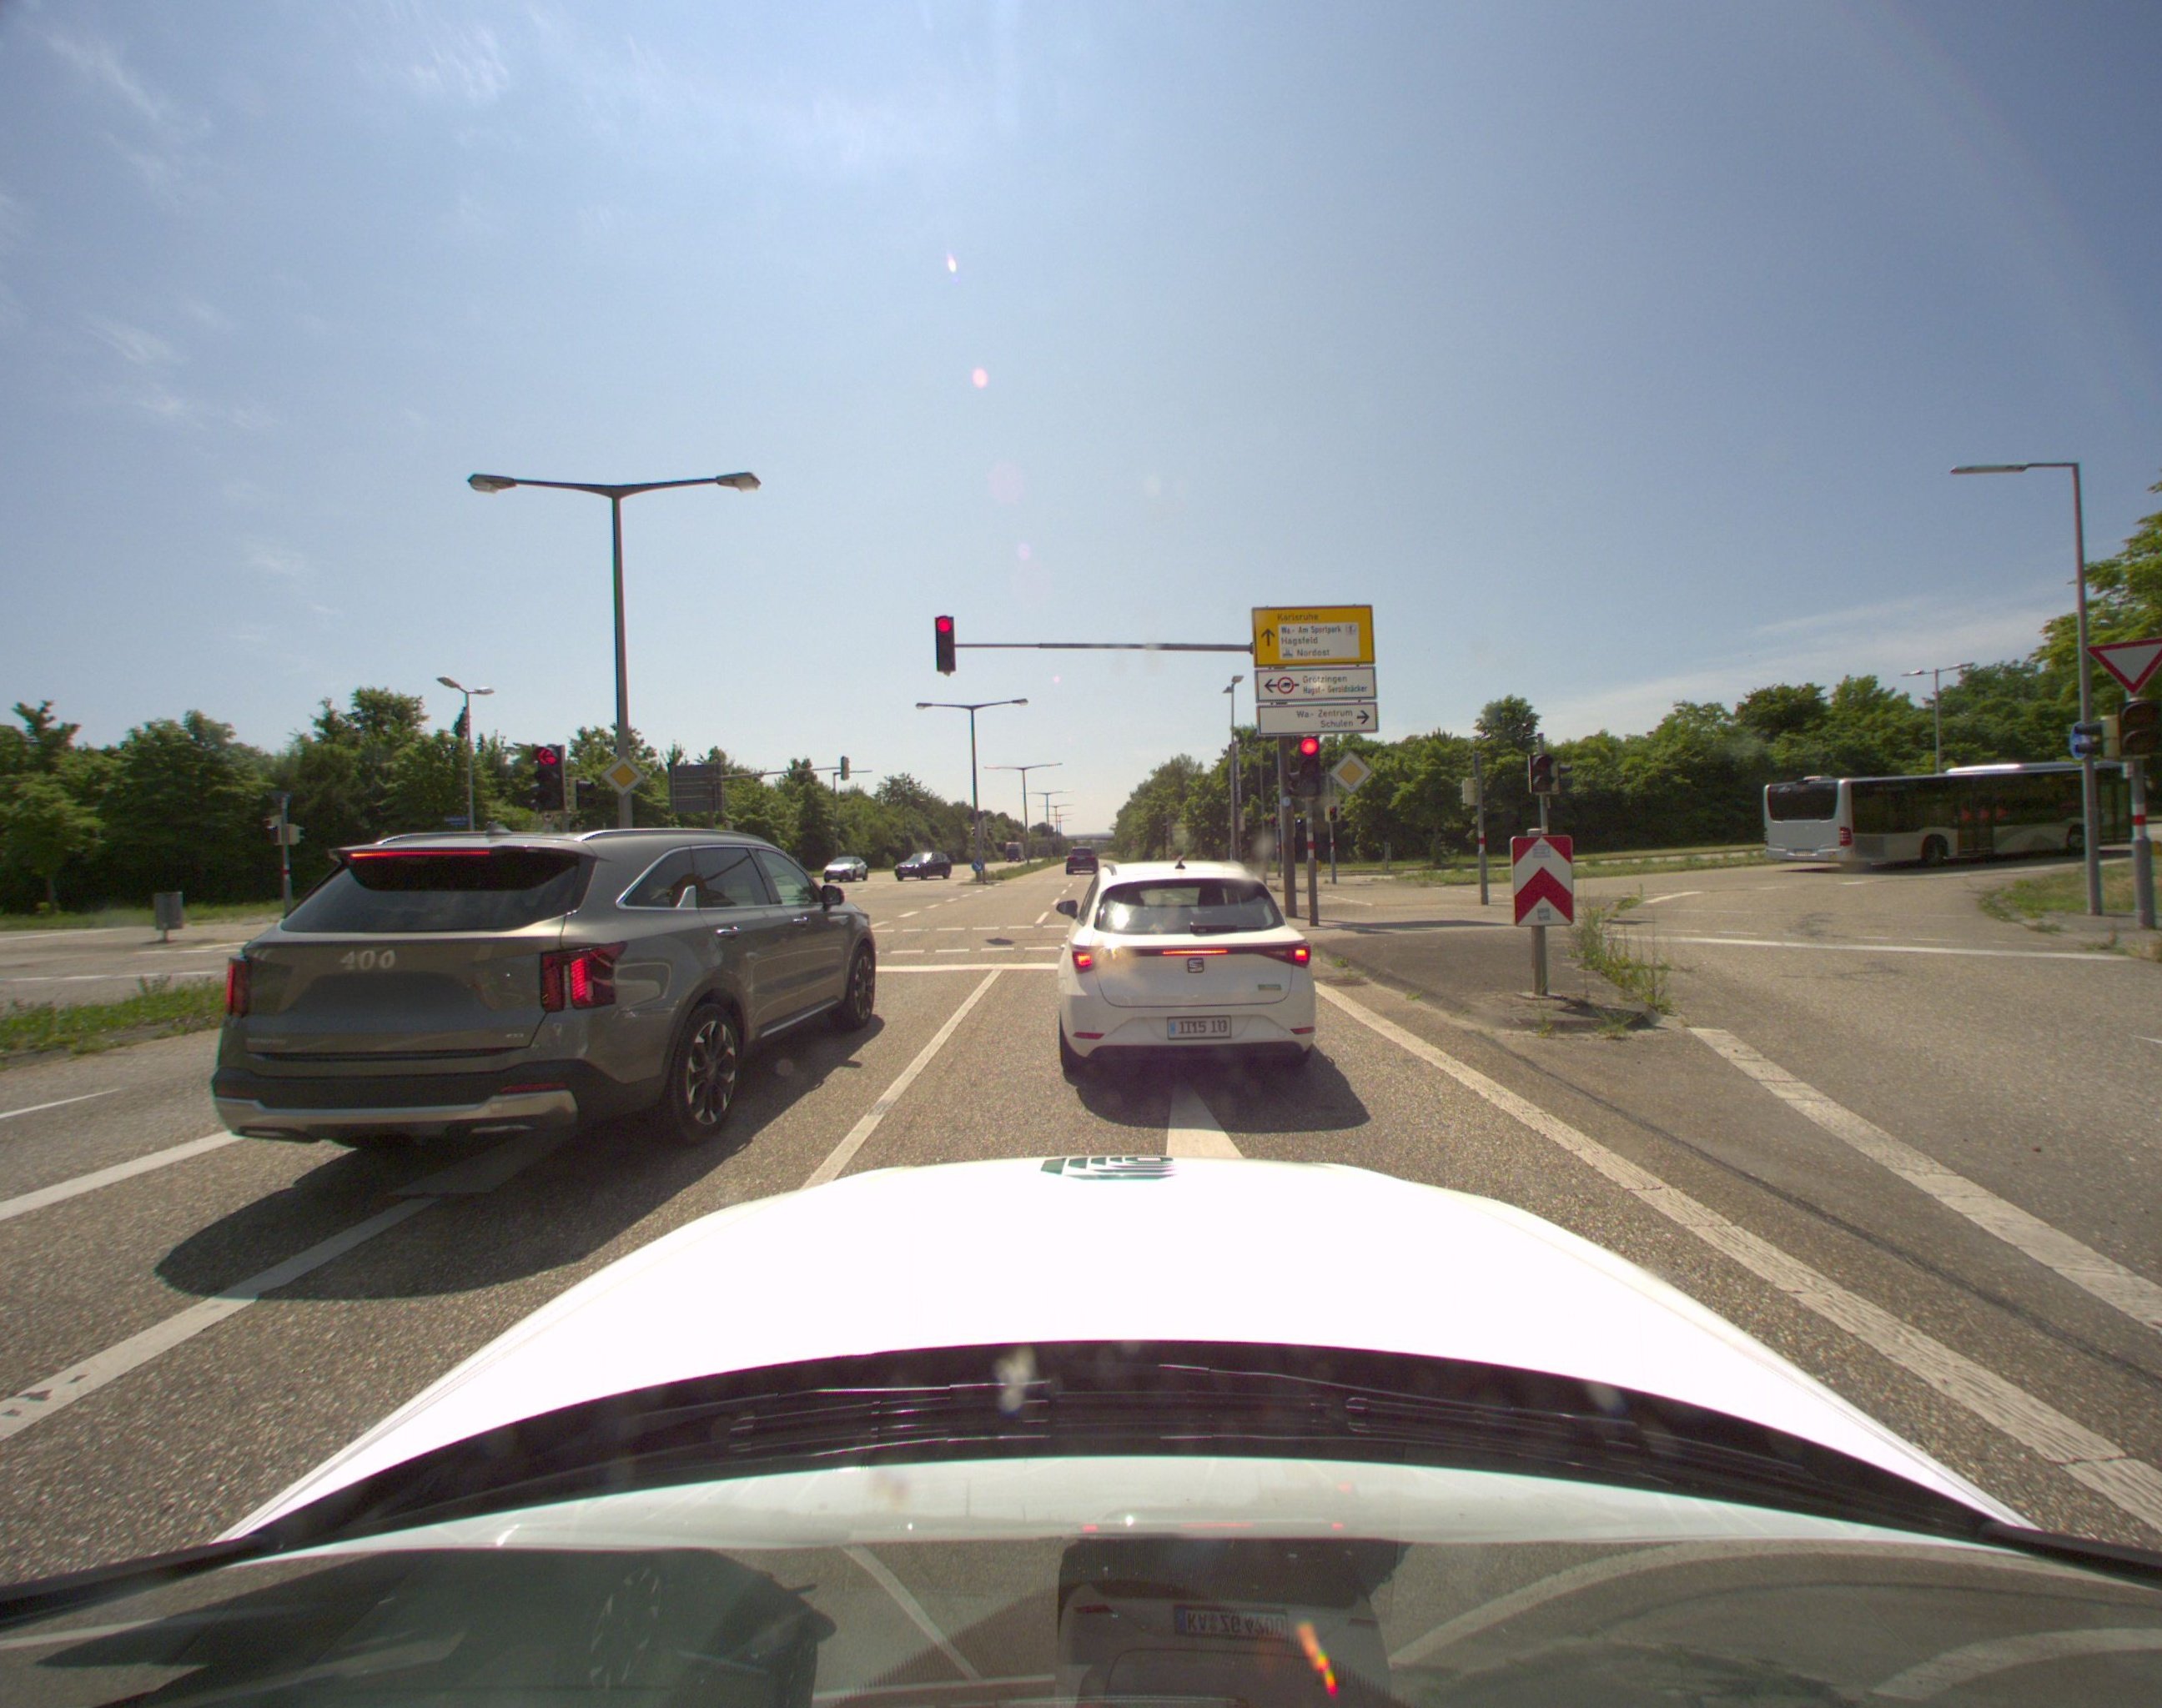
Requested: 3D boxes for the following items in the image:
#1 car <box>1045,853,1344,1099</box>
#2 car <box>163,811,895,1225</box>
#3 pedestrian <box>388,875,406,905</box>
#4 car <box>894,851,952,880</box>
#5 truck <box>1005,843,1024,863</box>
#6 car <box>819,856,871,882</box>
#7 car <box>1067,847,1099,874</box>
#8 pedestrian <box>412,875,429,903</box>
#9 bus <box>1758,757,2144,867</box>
[{"bbox_3d":[0.720,0.728,6.604,1.728,1.428,3.696,0,-1,2],"label":"car"},{"bbox_3d":[-2.832,0.683,5.704,1.797,1.662,4.646,-2,0,2],"label":"car"},{"bbox_3d":[-37.507,1.944,44.668,0.620,1.603,0.790,-2,0,-34],"label":"pedestrian"},{"bbox_3d":[-9.747,0.682,50.672,1.693,1.663,4.242,-2,0,17],"label":"car"},{"bbox_3d":[-12.097,-0.220,148.805,2.677,3.570,7.269,-2,0,1],"label":"truck"},{"bbox_3d":[-14.692,0.929,50.924,1.815,1.455,4.171,-2,0,2],"label":"car"},{"bbox_3d":[0.200,0.398,55.010,1.847,1.709,4.004,-2,0,4],"label":"car"},{"bbox_3d":[-36.631,1.943,45.158,0.620,1.503,0.790,-2,0,-34],"label":"pedestrian"},{"bbox_3d":[28.413,-1.383,26.612,12.046,3.086,2.621,-2,0,-11],"label":"bus"}]
